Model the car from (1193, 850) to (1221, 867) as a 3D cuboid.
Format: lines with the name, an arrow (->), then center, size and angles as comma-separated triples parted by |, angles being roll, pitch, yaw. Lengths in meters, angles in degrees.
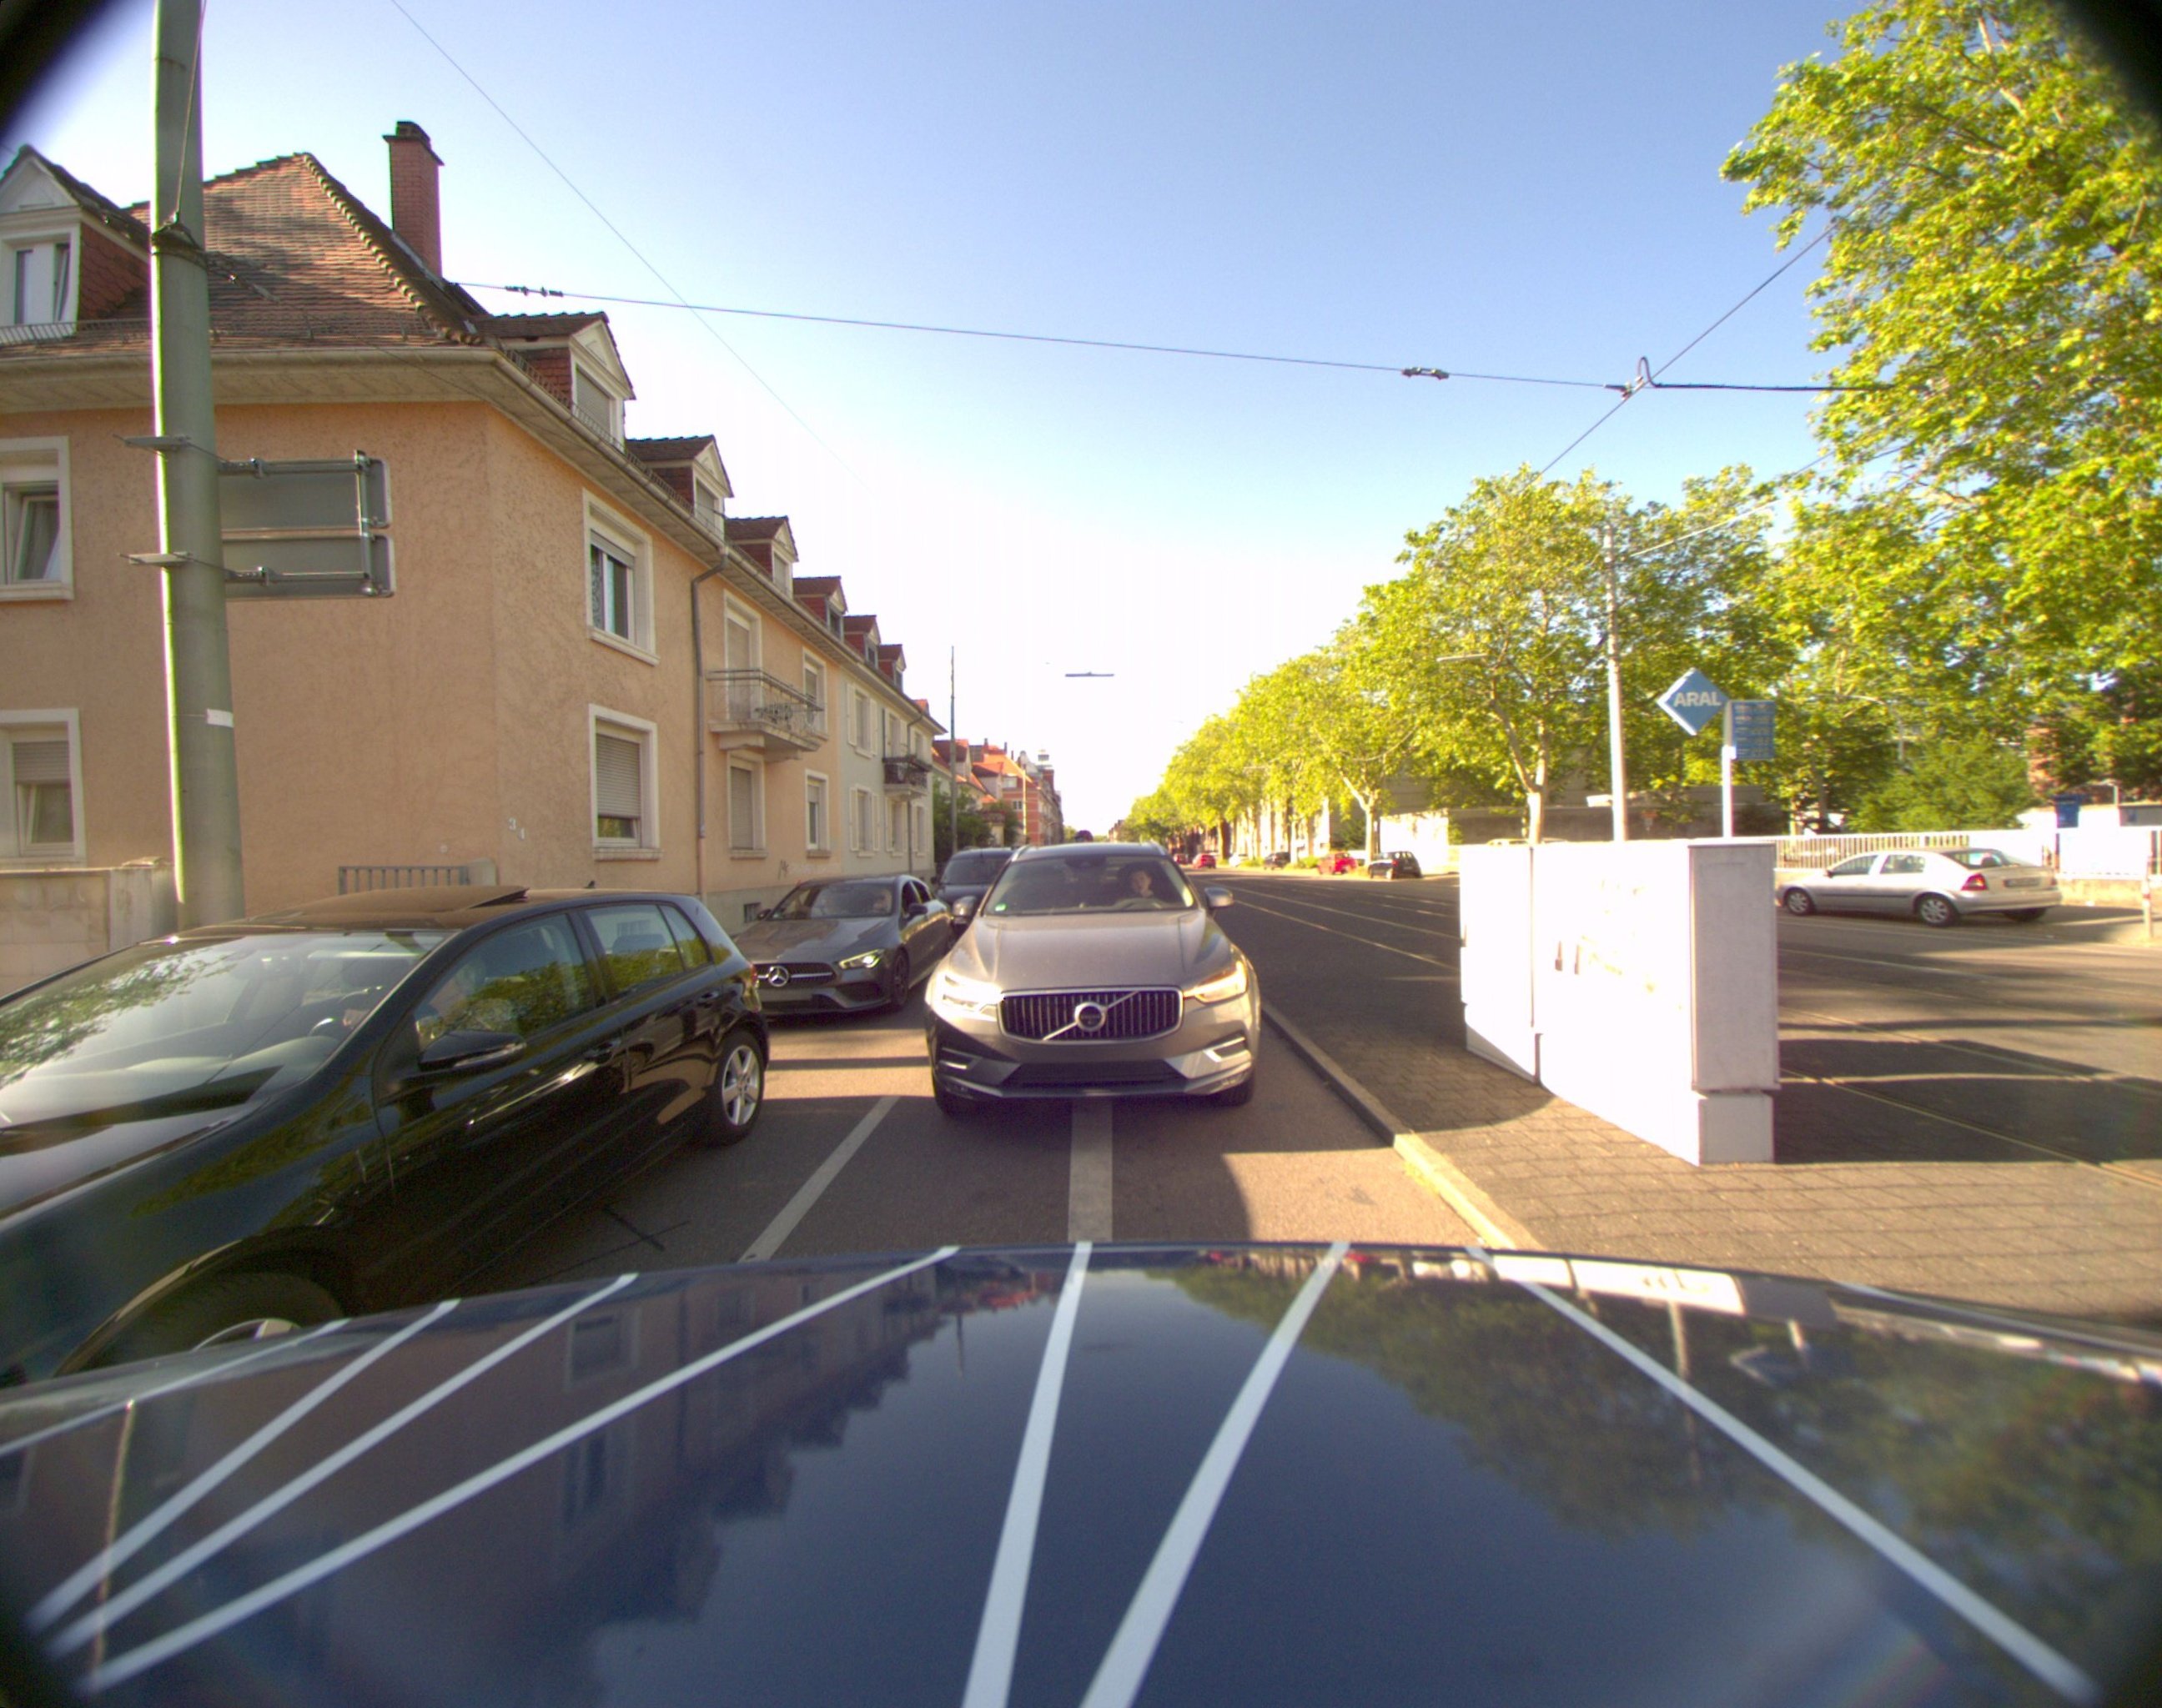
car -> 12.418, 0.415, 74.946 | 1.912, 1.514, 4.763 | 0, 1, 0

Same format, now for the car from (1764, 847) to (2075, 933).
car -> 16.165, 0.595, 15.015 | 1.731, 1.412, 3.999 | -2, 1, 1

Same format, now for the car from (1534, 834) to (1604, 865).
car -> 24.159, -0.220, 37.732 | 1.545, 1.412, 3.151 | -2, 1, 4

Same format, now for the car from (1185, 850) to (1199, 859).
car -> 18.334, 0.028, 125.562 | 1.700, 1.401, 3.999 | -1, 1, 1

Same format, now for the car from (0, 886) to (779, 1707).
car -> -2.716, 0.927, 2.501 | 1.733, 1.499, 4.051 | -2, -1, 1

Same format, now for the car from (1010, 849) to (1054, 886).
car -> -2.788, 0.725, 44.980 | 1.937, 1.888, 7.210 | -2, 1, 1

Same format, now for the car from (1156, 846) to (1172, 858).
car -> 13.072, -0.339, 119.954 | 1.850, 1.835, 4.394 | -1, 1, -1

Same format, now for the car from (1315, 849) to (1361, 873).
car -> 16.990, 0.434, 50.429 | 1.700, 1.460, 3.999 | -1, 1, 1

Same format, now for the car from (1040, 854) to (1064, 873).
car -> -2.531, 0.806, 67.001 | 1.841, 1.449, 3.999 | -2, 1, 1

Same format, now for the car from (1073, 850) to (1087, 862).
car -> -0.158, 0.275, 106.491 | 1.841, 1.449, 3.999 | -2, 1, 1

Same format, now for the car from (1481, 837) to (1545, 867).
car -> 21.716, -0.108, 38.288 | 1.545, 1.412, 3.151 | -2, 1, 4

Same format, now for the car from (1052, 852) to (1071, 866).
car -> -2.182, 0.587, 85.439 | 1.841, 1.449, 3.999 | -2, 1, 1

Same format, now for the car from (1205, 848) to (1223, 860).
car -> 17.665, 0.012, 100.785 | 1.700, 1.548, 3.999 | -1, 1, 1

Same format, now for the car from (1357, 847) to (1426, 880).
car -> 16.764, 0.462, 41.260 | 1.753, 1.514, 4.434 | -5, 1, -1

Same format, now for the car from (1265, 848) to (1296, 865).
car -> 17.285, 0.231, 65.916 | 1.700, 1.401, 3.999 | -1, 1, 1

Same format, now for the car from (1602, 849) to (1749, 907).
car -> 16.432, 0.608, 21.190 | 1.546, 1.412, 3.254 | -2, 1, 1

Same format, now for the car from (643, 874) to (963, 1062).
car -> -2.787, 1.062, 8.896 | 1.911, 1.411, 4.492 | -2, 1, 2

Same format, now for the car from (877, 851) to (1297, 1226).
car -> 0.037, 0.862, 5.958 | 1.912, 1.666, 4.763 | -2, 1, 0

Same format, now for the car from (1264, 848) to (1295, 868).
car -> 17.168, 0.324, 65.996 | 1.700, 1.566, 3.999 | -1, 1, 1

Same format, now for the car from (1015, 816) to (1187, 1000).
car -> 0.237, 0.599, 11.125 | 1.912, 2.048, 4.763 | -2, 1, 0

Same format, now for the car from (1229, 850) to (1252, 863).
car -> 17.517, 0.254, 83.524 | 1.700, 1.401, 3.999 | -1, 1, 1

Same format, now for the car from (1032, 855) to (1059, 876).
car -> -2.827, 0.889, 60.592 | 1.841, 1.449, 3.999 | -2, 1, 1

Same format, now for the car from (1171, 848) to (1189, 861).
car -> 12.695, 0.060, 97.689 | 1.700, 1.412, 3.999 | 5, 1, 1

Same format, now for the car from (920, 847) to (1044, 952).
car -> -1.884, 0.795, 15.980 | 1.866, 1.794, 4.778 | -2, 1, 1
